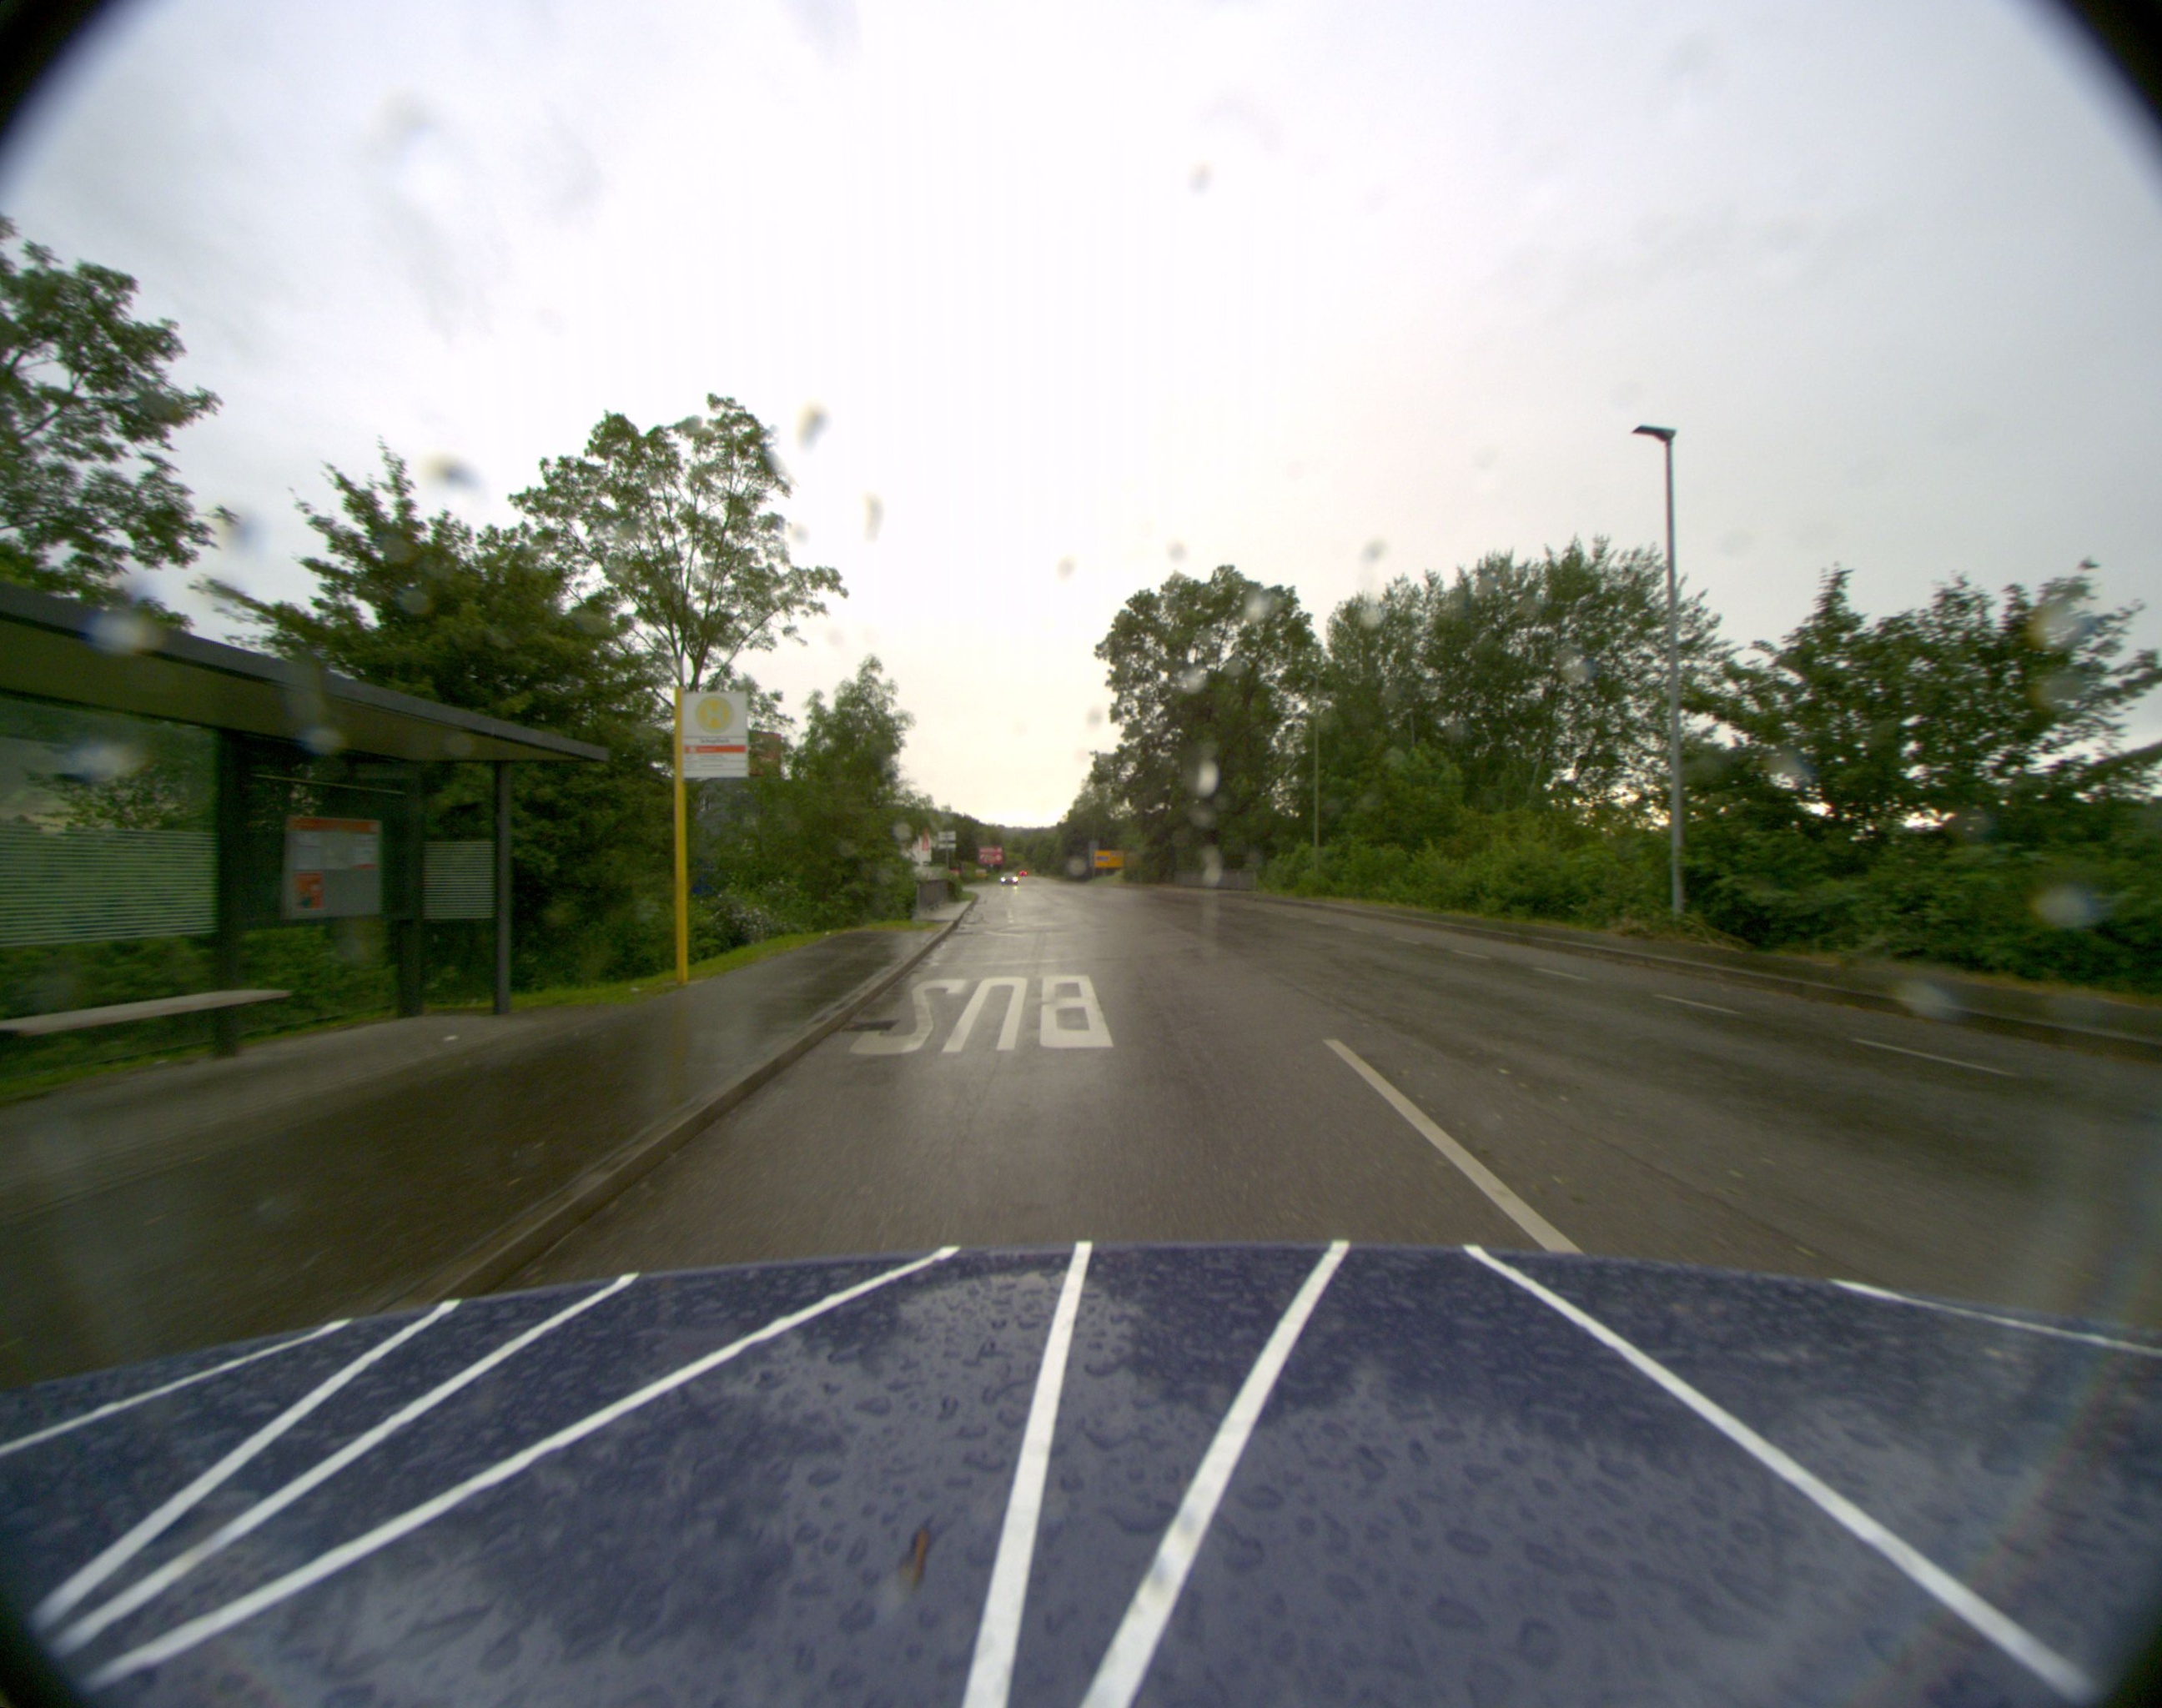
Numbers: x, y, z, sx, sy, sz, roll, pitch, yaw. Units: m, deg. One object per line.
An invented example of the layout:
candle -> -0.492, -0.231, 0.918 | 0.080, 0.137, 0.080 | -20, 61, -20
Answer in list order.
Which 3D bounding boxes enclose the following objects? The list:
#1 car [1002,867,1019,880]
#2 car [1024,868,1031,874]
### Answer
car -> -8.182, 2.247, 88.751 | 1.856, 1.481, 4.120 | -1, -1, -3
car -> -14.577, 4.718, 207.660 | 1.834, 1.514, 3.999 | -1, -1, -3
